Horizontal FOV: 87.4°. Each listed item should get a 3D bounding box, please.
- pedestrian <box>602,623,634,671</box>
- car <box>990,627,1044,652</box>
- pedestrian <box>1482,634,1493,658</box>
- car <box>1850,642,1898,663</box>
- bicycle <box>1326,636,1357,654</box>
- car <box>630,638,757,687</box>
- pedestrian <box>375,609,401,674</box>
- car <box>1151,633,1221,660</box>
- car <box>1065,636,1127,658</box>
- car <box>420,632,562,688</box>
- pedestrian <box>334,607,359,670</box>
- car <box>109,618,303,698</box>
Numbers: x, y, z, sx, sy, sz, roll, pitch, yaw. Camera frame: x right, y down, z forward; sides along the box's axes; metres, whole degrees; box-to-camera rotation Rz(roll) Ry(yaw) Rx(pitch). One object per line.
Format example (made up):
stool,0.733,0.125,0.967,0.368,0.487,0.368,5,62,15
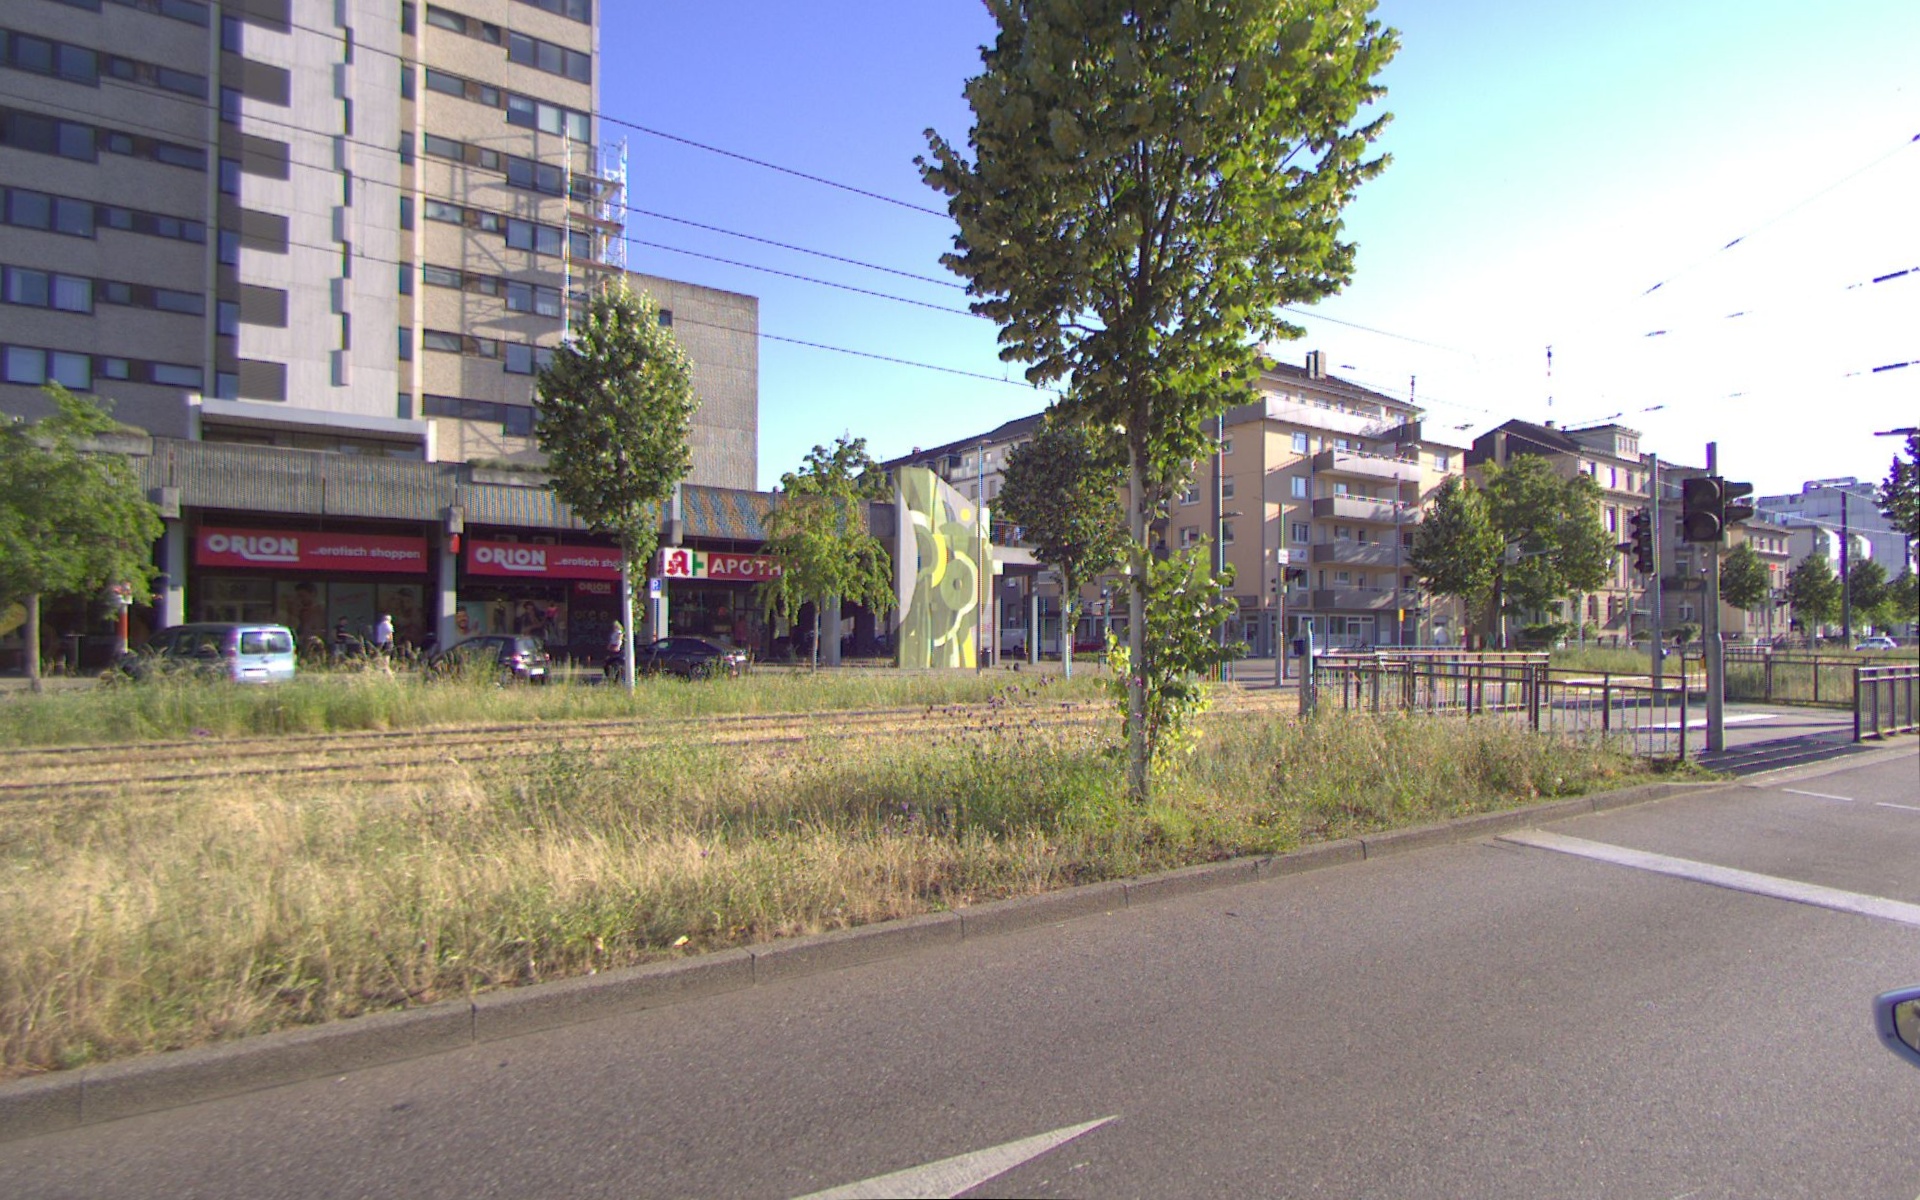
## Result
pedestrian,-12.035,1.650,35.331,0.874,1.661,0.769,1,-2,-35
car,4.141,2.899,73.737,1.979,1.766,3.963,1,-2,-33
pedestrian,35.248,3.087,67.069,0.444,1.576,0.515,1,-2,-35
car,70.367,4.031,77.333,4.616,1.483,1.764,2,-2,-35
bicycle,24.590,2.909,64.703,2.559,1.152,0.527,1,-2,-35
car,-8.187,1.891,30.928,3.396,1.291,1.622,2,0,13
pedestrian,-18.419,1.333,32.354,0.648,2.040,0.544,1,-2,-34
car,13.490,2.752,60.075,1.828,1.516,3.962,1,-2,-34
car,9.025,3.099,66.877,1.979,1.321,3.963,1,-2,-33
car,-13.489,1.700,28.953,3.396,1.421,1.622,2,0,13
pedestrian,-19.962,1.254,32.674,0.648,2.040,0.544,1,-2,-34
car,-18.552,1.372,24.732,4.112,1.713,1.622,2,0,16
